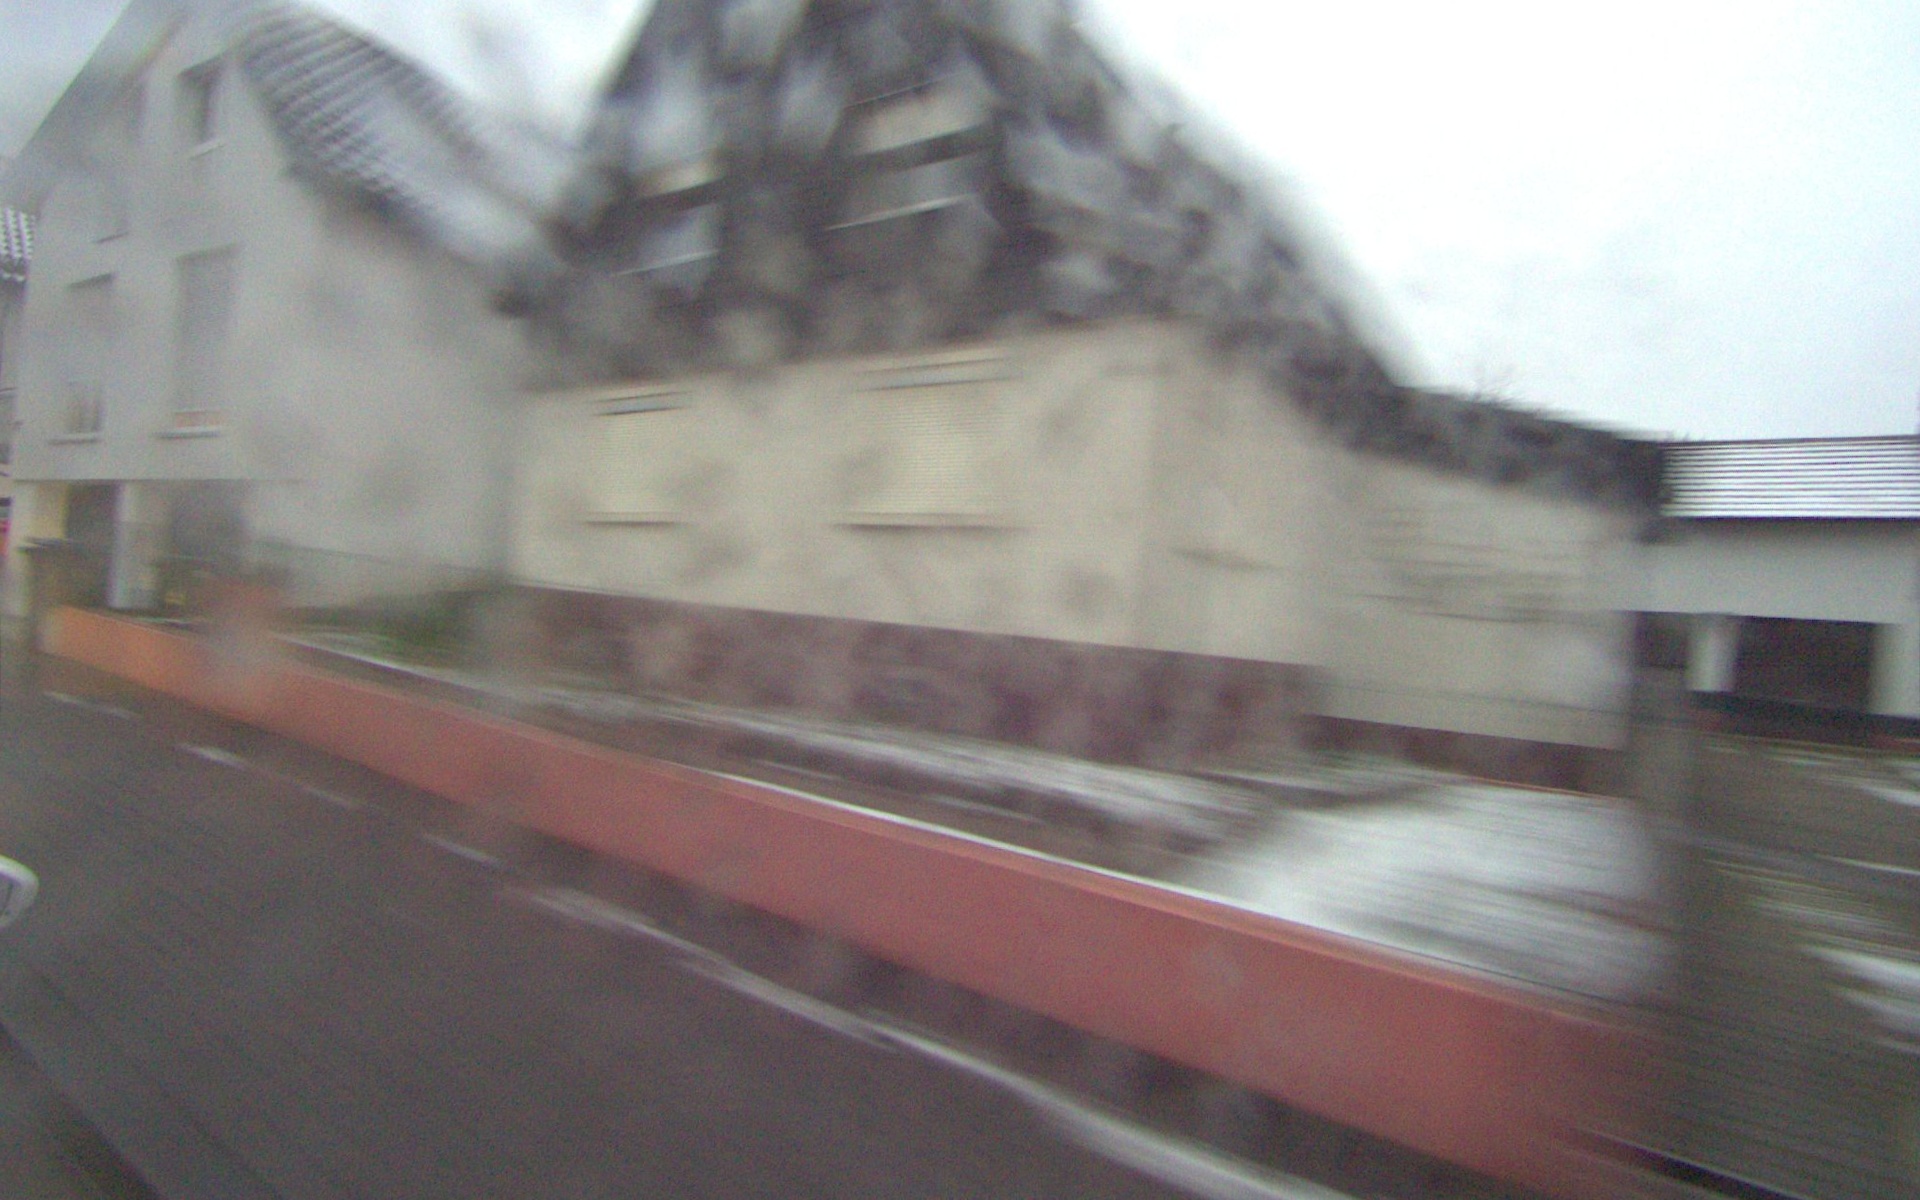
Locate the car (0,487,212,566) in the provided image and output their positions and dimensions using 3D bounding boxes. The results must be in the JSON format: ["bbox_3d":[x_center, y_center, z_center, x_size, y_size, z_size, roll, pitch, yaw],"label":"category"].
[{"bbox_3d":[-18.184,-1.535,20.578,1.752,1.479,4.266,6,7,36],"label":"car"}]

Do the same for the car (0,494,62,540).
[{"bbox_3d":[-35.826,-3.197,36.688,4.490,1.462,1.974,5,2,-45],"label":"car"}]

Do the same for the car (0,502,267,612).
[{"bbox_3d":[-15.106,-0.747,18.048,1.662,1.474,3.994,7,-1,31],"label":"car"}]
